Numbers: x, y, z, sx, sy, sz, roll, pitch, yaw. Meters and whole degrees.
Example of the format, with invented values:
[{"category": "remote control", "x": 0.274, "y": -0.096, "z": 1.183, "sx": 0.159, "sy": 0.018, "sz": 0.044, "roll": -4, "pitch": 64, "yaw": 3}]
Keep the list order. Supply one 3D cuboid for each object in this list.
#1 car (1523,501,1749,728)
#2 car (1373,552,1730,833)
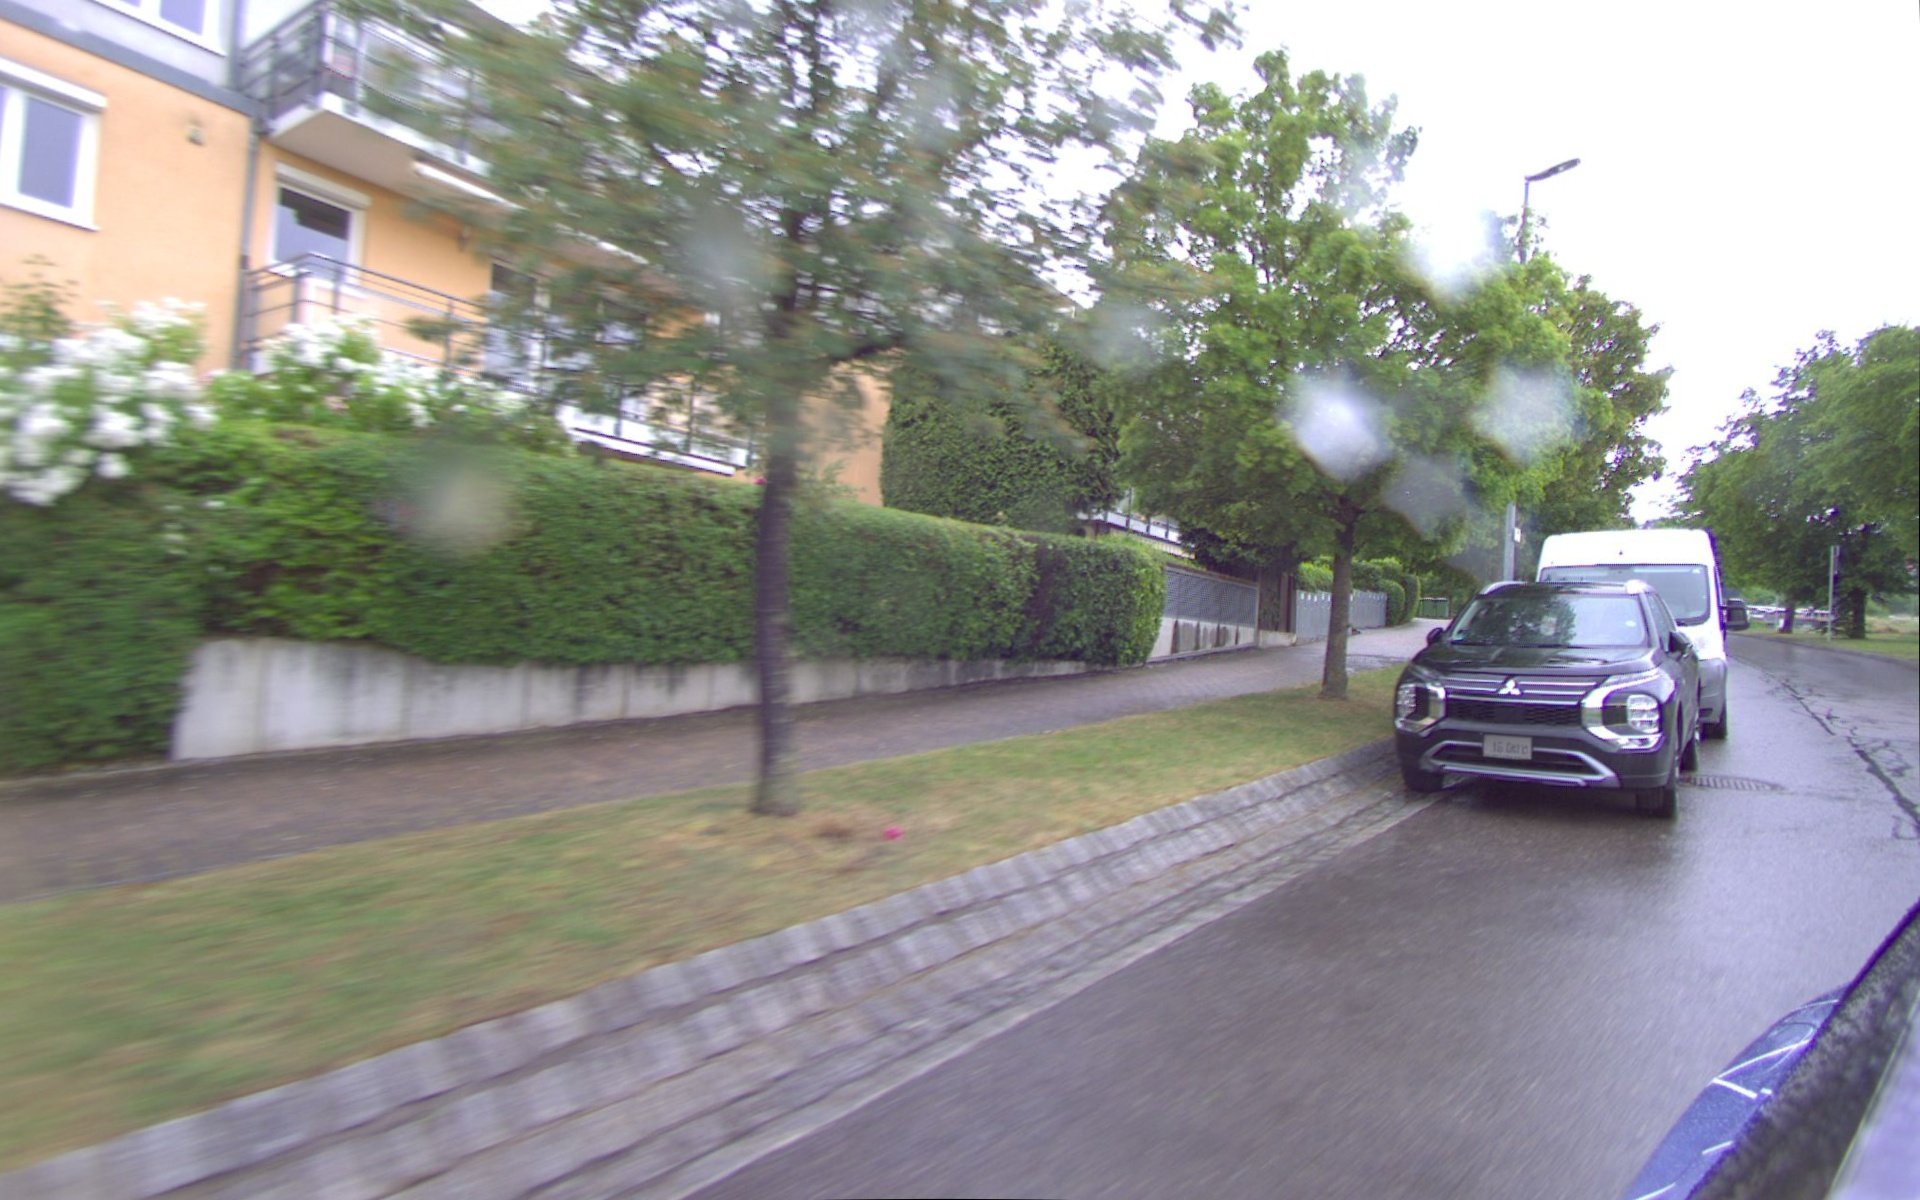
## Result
[{"category": "car", "x": 8.938, "y": 0.136, "z": 13.291, "sx": 2.042, "sy": 2.360, "sz": 5.336, "roll": 1, "pitch": 0, "yaw": 36}, {"category": "car", "x": 5.241, "y": 0.528, "z": 8.637, "sx": 1.810, "sy": 1.748, "sz": 4.583, "roll": 1, "pitch": 1, "yaw": 41}]
